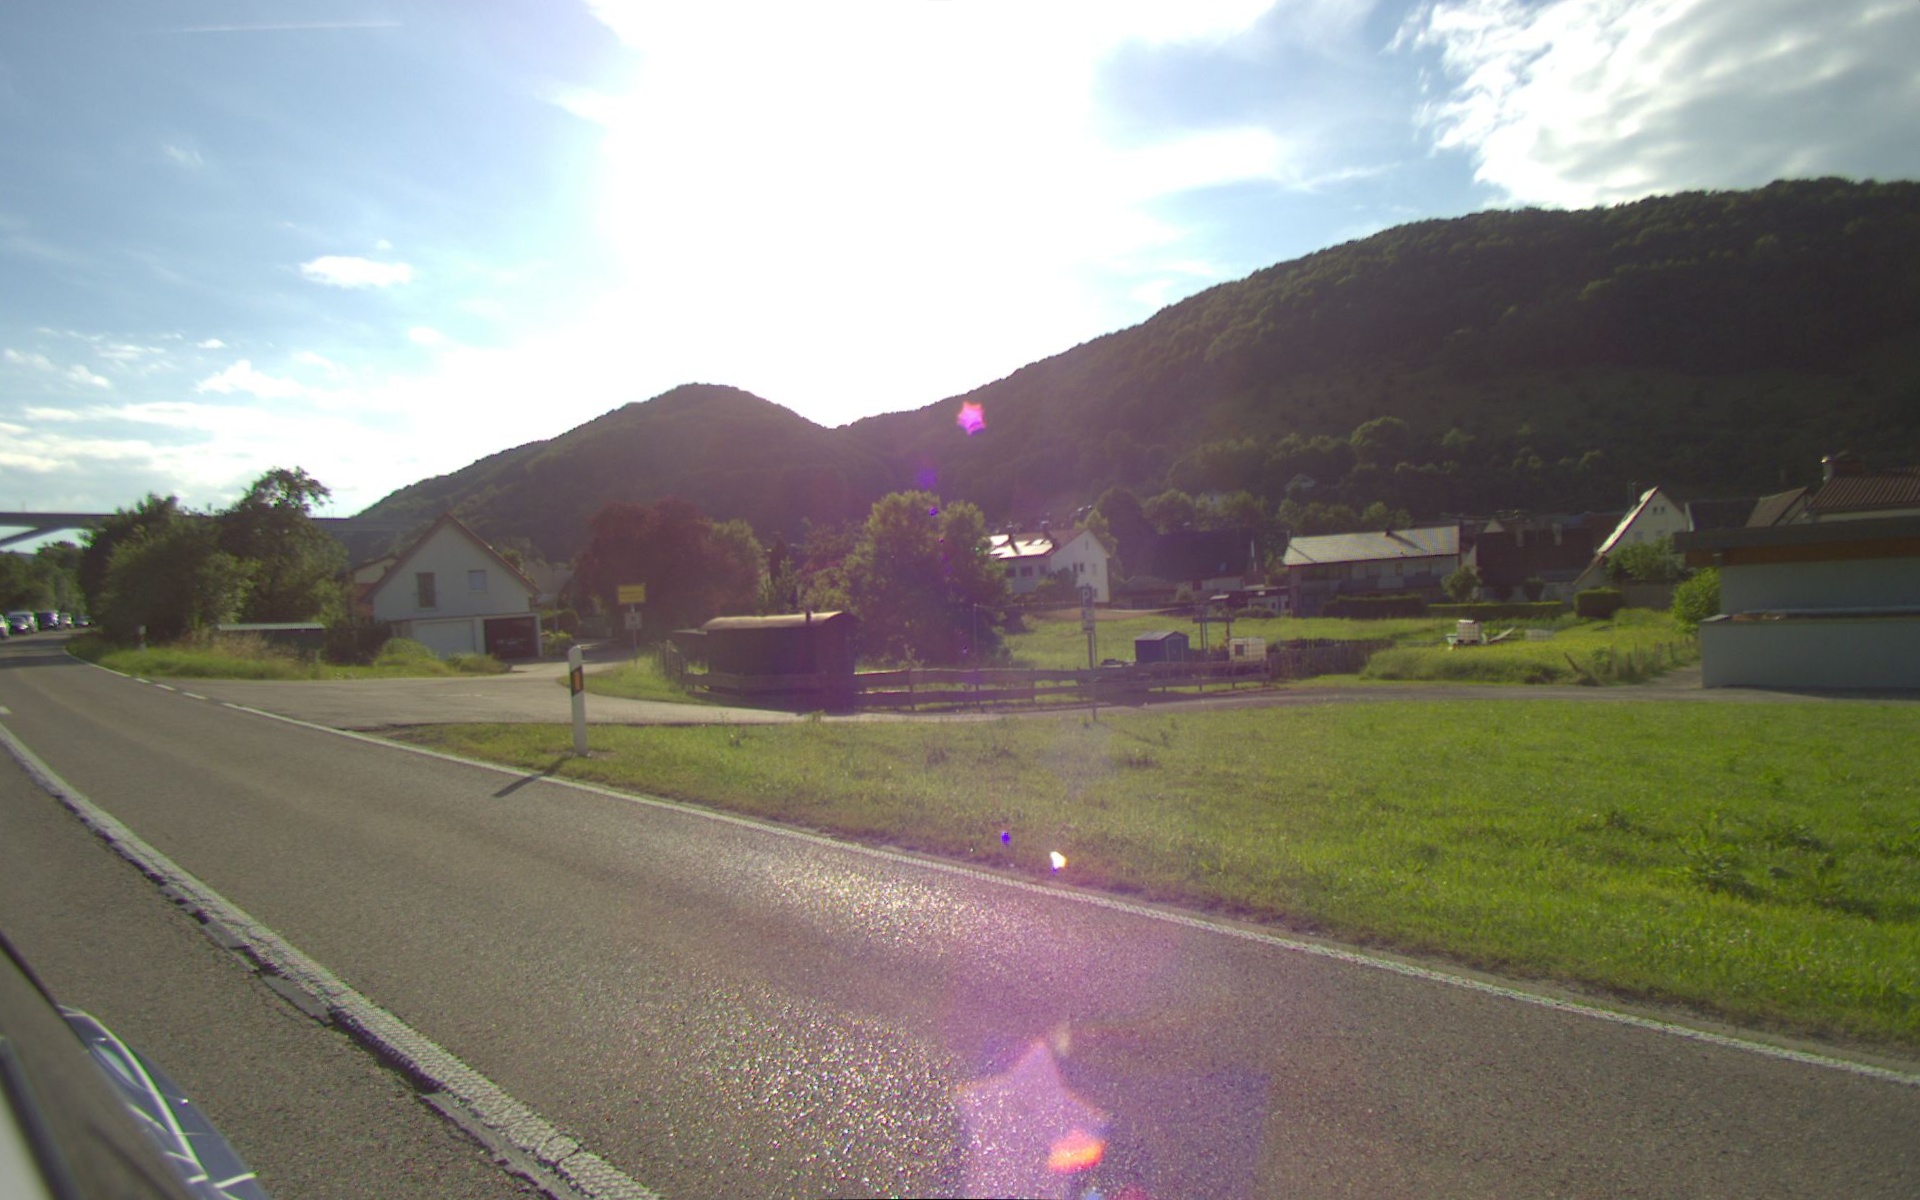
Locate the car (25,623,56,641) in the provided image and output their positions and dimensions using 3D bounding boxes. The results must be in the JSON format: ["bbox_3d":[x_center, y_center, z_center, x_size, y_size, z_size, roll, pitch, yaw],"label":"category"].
[{"bbox_3d":[-85.024,2.963,93.576,1.790,1.630,4.008,2,-2,-38],"label":"car"}]

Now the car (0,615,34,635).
[{"bbox_3d":[-77.426,2.043,83.037,1.790,1.630,4.009,1,-1,-37],"label":"car"}]

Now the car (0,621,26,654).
[{"bbox_3d":[-60.220,2.312,63.659,1.886,2.029,4.006,2,-2,-40],"label":"car"}]

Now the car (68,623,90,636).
[{"bbox_3d":[-113.197,3.773,130.074,1.813,1.564,4.186,2,-2,-38],"label":"car"}]

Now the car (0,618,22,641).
[{"bbox_3d":[-71.206,2.185,75.278,1.814,1.563,4.185,2,0,-40],"label":"car"}]

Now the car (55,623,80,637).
[{"bbox_3d":[-101.761,3.419,115.375,1.813,1.564,4.186,2,-2,-38],"label":"car"}]

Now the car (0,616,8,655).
[{"bbox_3d":[-52.836,1.904,54.648,1.886,2.029,4.005,2,-2,-41],"label":"car"}]
